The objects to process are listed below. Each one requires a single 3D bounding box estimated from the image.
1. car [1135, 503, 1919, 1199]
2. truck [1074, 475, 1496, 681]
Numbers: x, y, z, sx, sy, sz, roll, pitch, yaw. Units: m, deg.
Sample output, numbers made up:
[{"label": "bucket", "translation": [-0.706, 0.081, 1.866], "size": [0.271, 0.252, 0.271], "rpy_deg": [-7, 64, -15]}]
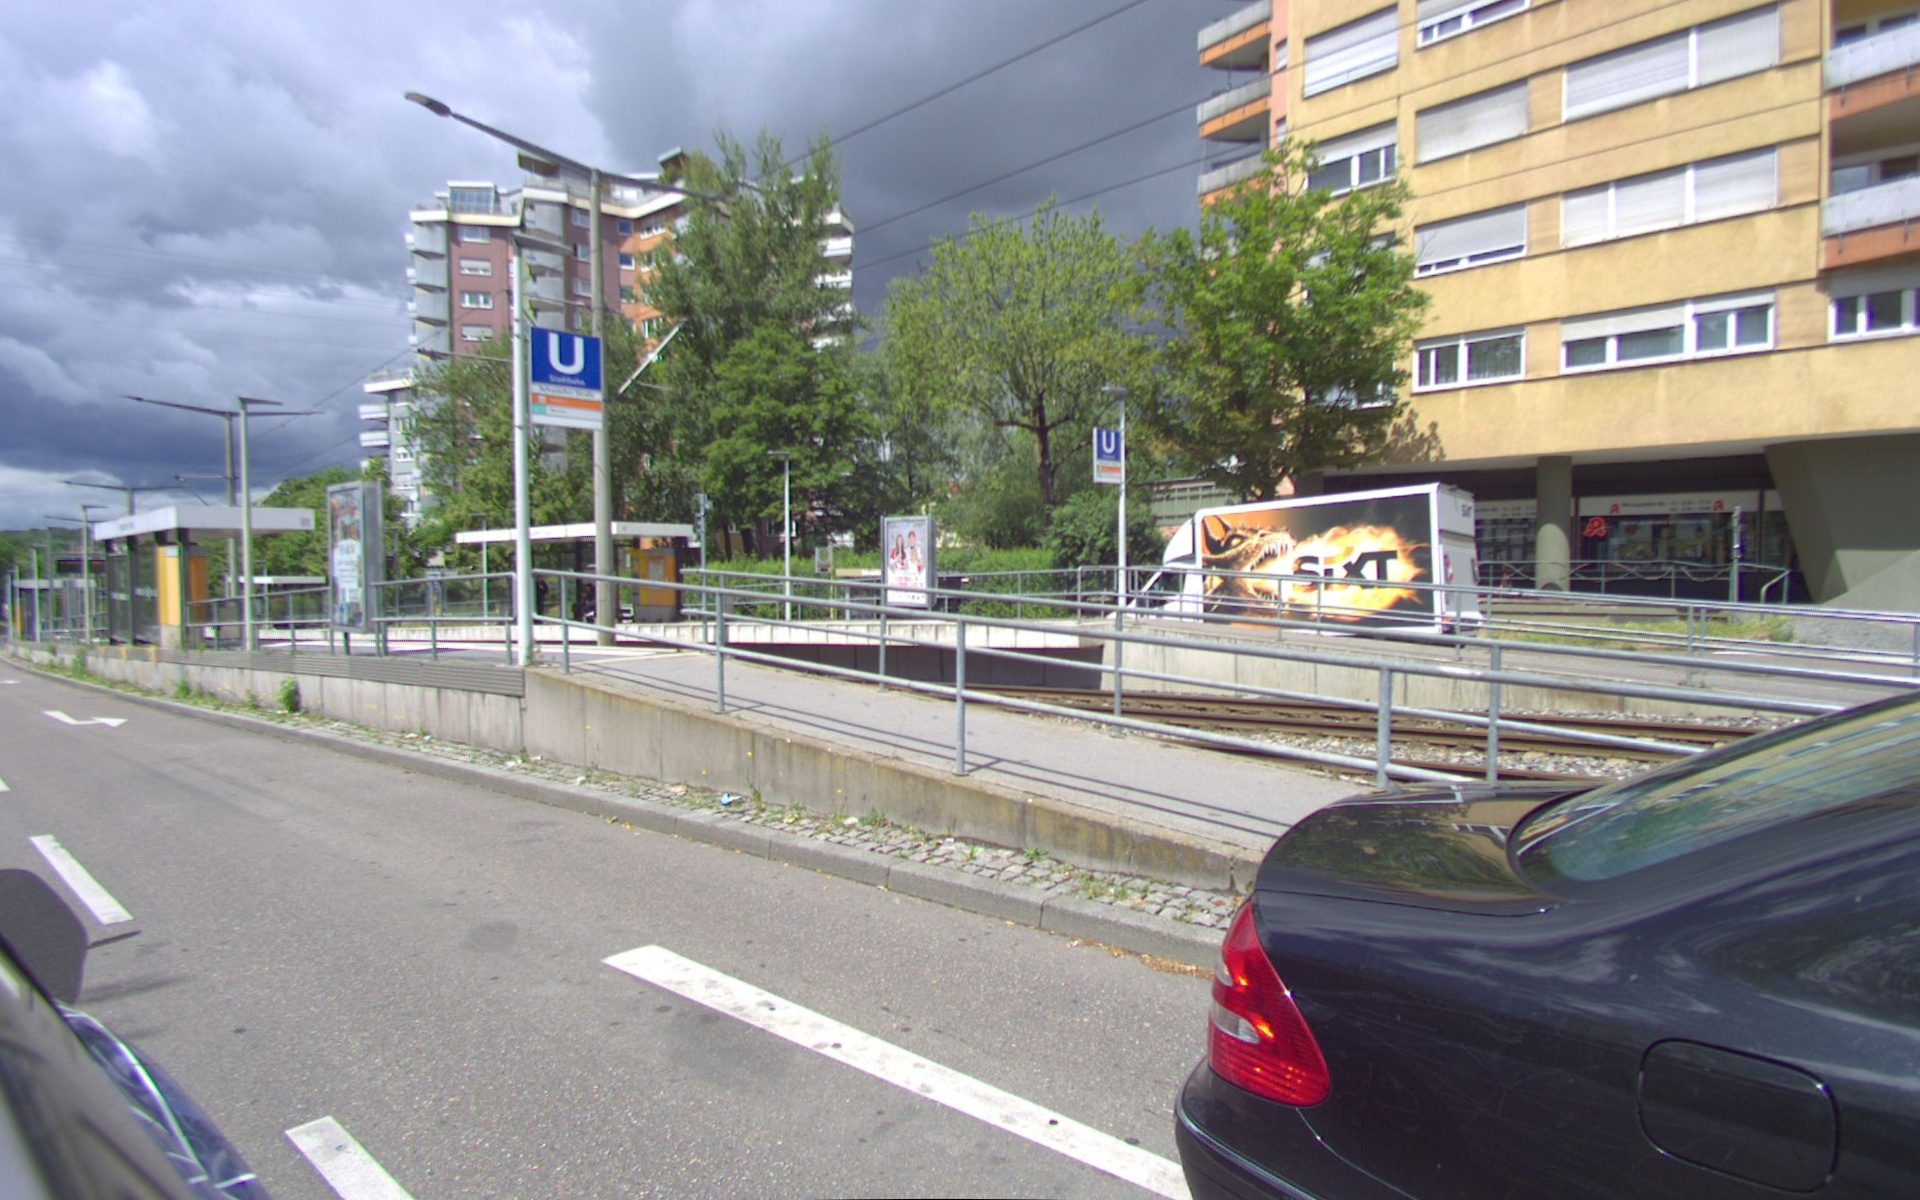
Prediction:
[{"label": "car", "translation": [2.535, 0.613, 0.681], "size": [4.542, 1.472, 1.710], "rpy_deg": [-1, 0, 42]}, {"label": "truck", "translation": [5.868, -0.252, 19.286], "size": [7.260, 3.247, 2.389], "rpy_deg": [-2, -1, 42]}]
